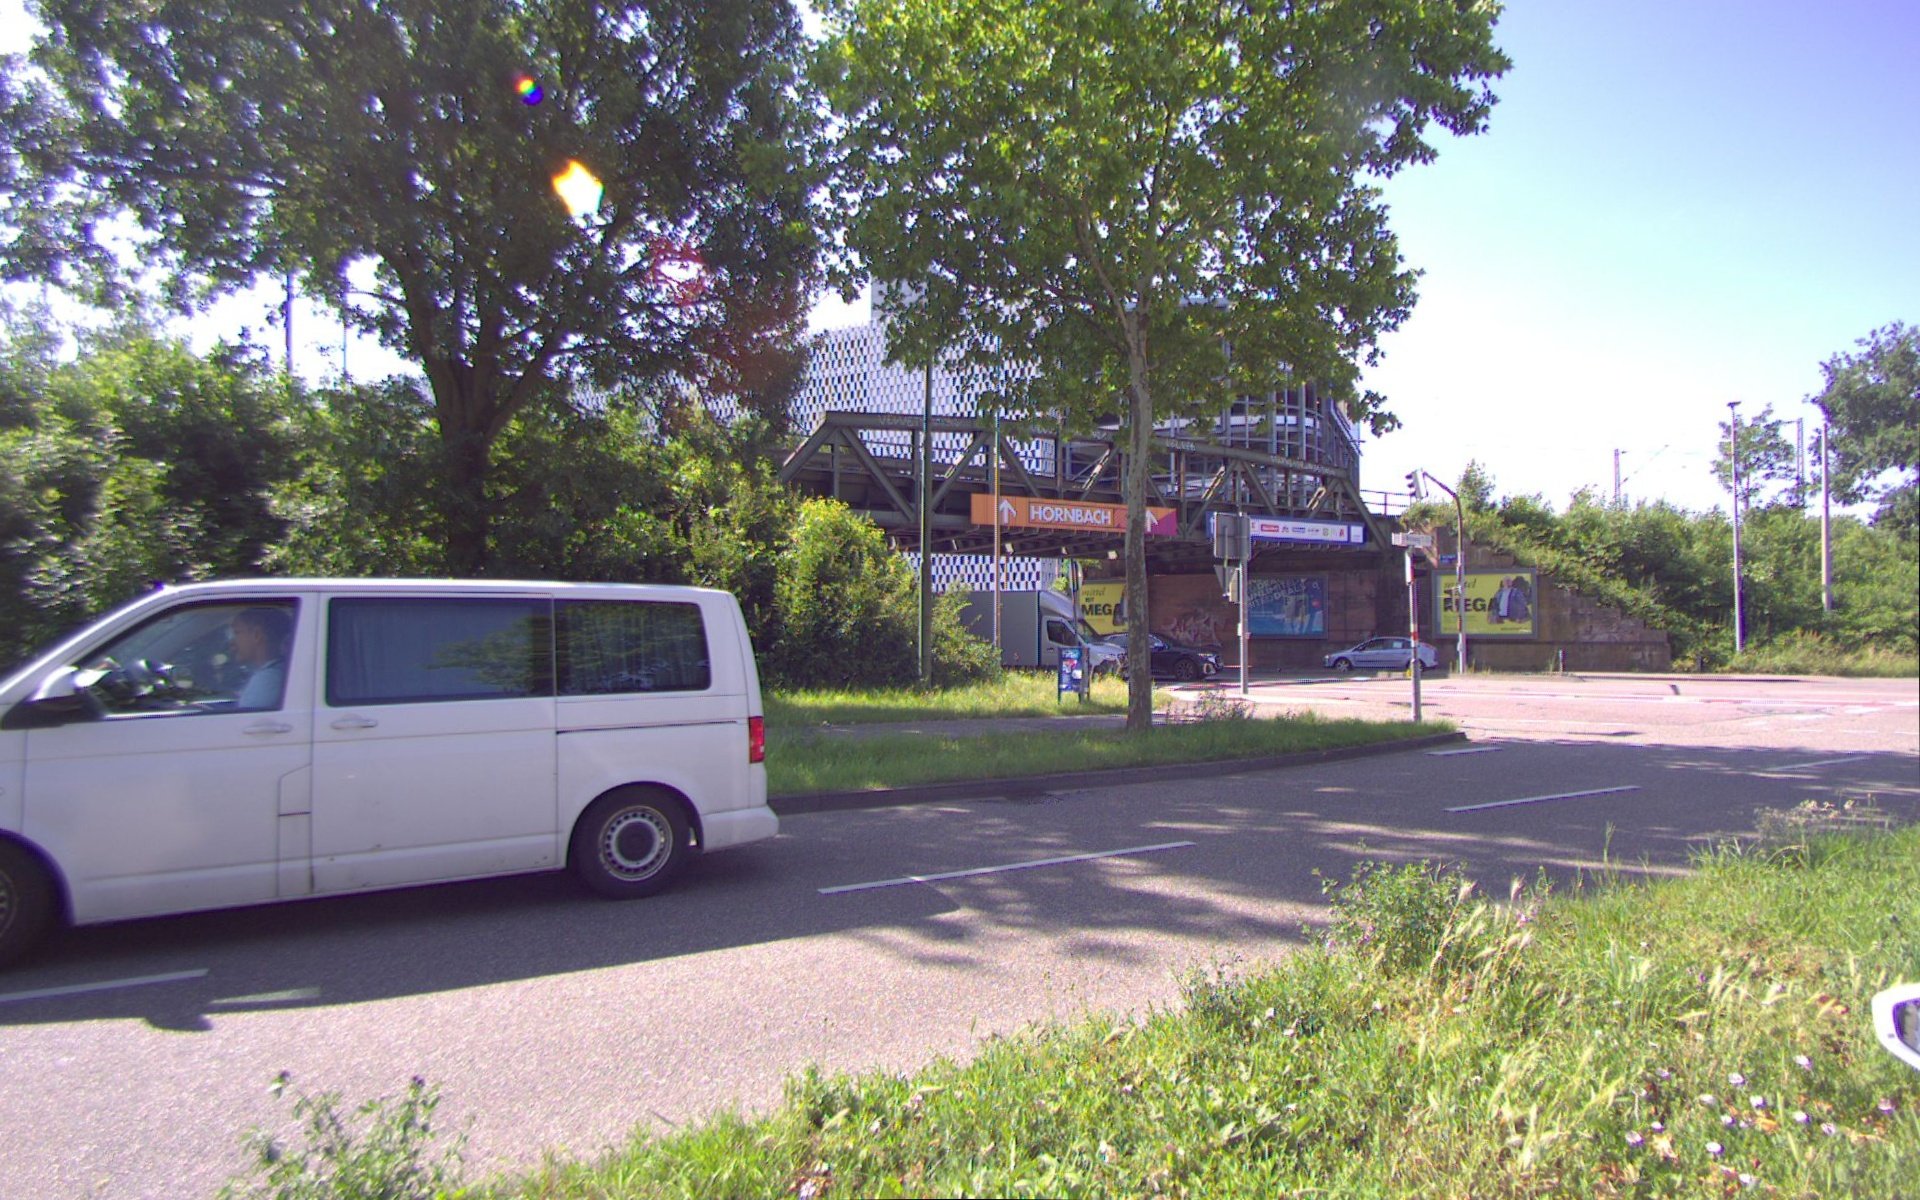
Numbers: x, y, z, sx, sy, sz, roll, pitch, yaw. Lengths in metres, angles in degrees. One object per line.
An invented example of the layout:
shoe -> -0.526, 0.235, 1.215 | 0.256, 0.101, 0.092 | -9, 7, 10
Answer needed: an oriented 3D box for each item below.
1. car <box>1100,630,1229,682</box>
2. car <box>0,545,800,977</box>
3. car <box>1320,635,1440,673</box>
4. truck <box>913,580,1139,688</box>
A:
car -> 6.954, 1.899, 34.228 | 3.926, 1.668, 1.902 | -2, -2, 27
car -> -3.443, 0.795, 6.091 | 4.518, 1.922, 1.986 | 1, -3, -29
car -> 16.300, 2.107, 39.014 | 4.147, 1.367, 1.638 | -2, -2, 27
truck -> 2.025, 1.123, 31.732 | 6.739, 3.146, 2.216 | -2, -2, 27
